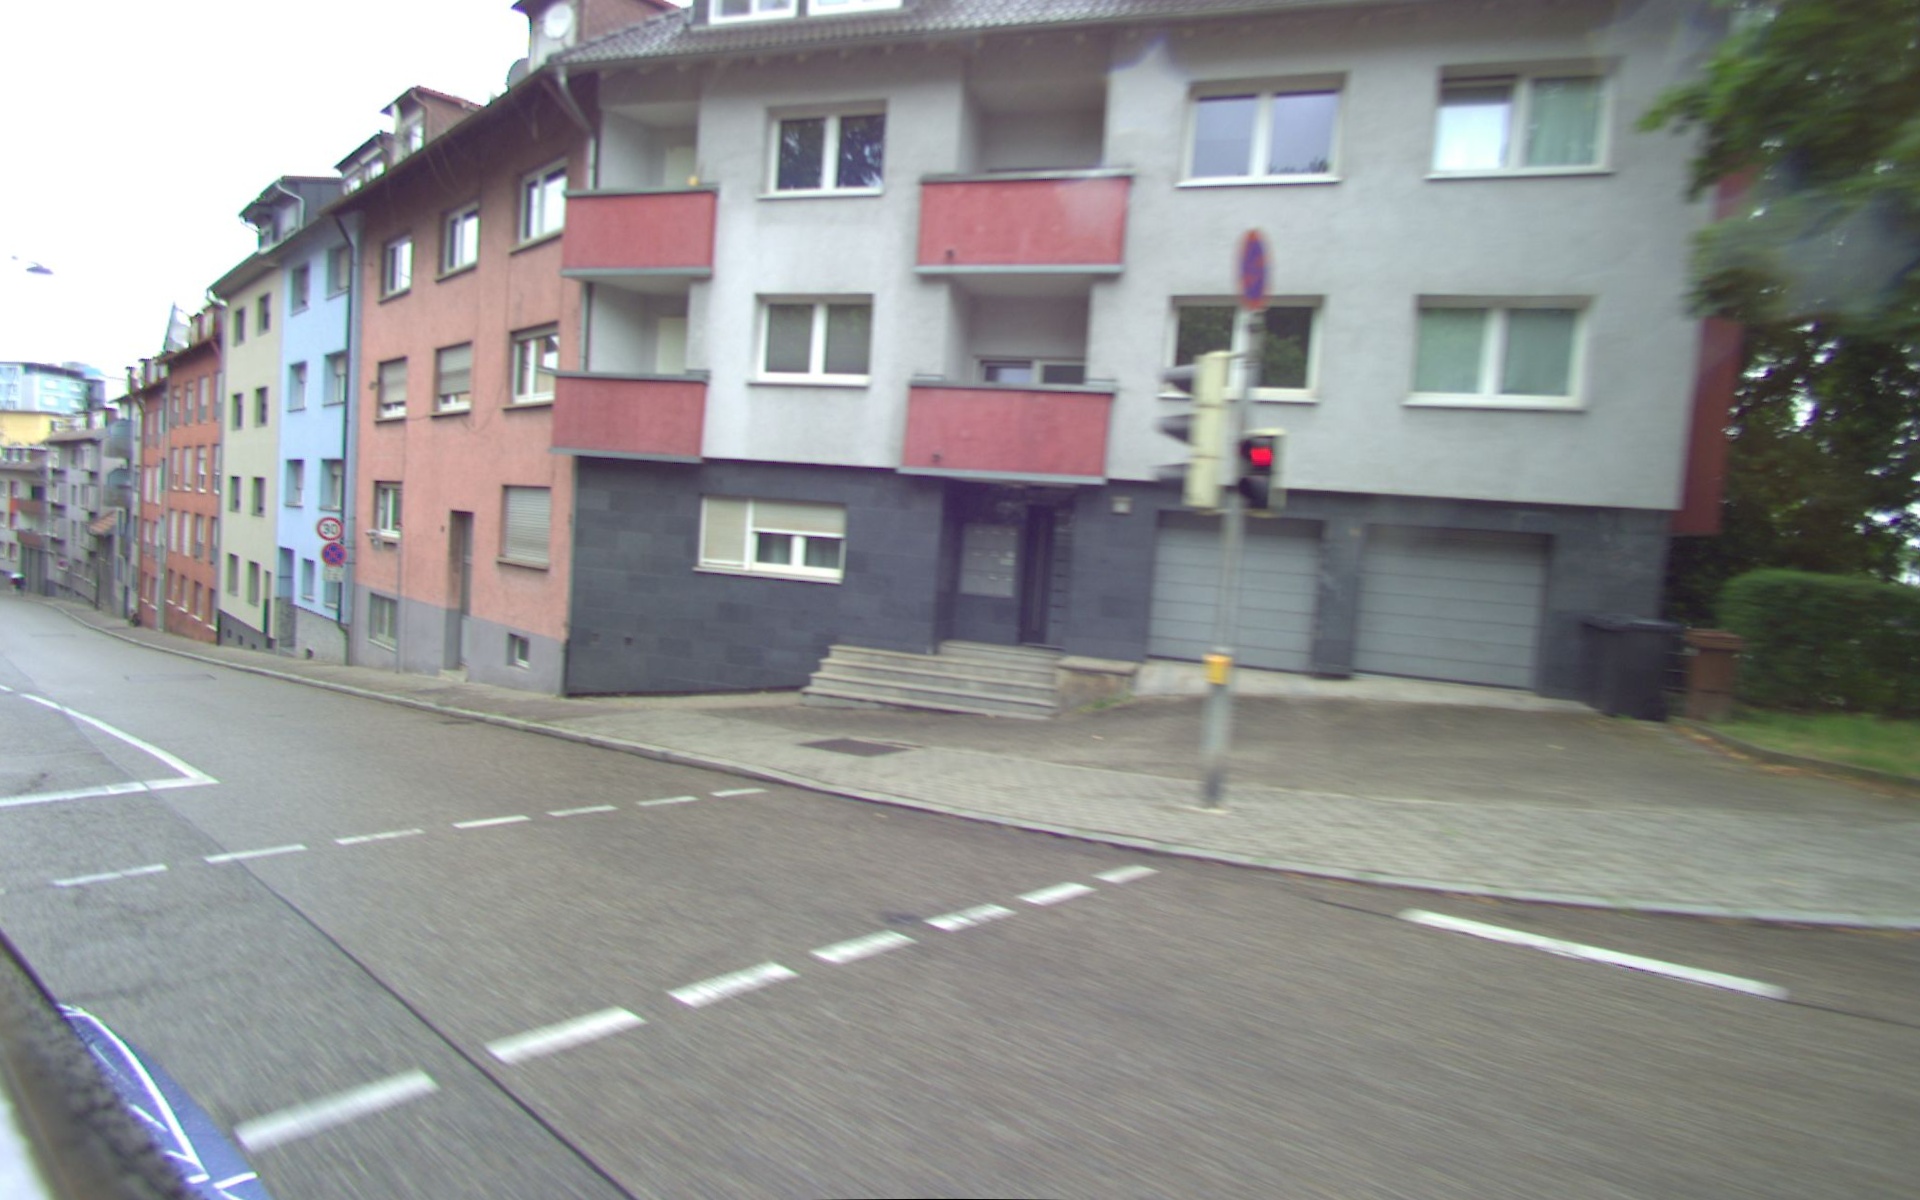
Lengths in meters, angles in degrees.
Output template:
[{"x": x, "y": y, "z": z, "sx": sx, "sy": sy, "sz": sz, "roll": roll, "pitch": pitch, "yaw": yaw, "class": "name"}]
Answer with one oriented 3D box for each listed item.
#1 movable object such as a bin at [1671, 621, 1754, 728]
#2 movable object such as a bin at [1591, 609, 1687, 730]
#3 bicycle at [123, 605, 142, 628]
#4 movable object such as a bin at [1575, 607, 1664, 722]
[{"x": 7.748, "y": 0.750, "z": 10.439, "sx": 0.497, "sy": 1.023, "sz": 0.626, "roll": 1, "pitch": 2, "yaw": 19, "class": "movable object such as a bin"}, {"x": 7.182, "y": 0.715, "z": 10.733, "sx": 0.683, "sy": 1.209, "sz": 0.558, "roll": 1, "pitch": 2, "yaw": 19, "class": "movable object such as a bin"}, {"x": -43.887, "y": 0.885, "z": 53.685, "sx": 0.564, "sy": 1.125, "sz": 2.041, "roll": -2, "pitch": 3, "yaw": -45, "class": "bicycle"}, {"x": 7.344, "y": 0.699, "z": 11.294, "sx": 0.683, "sy": 1.209, "sz": 0.558, "roll": 1, "pitch": 2, "yaw": 19, "class": "movable object such as a bin"}]
